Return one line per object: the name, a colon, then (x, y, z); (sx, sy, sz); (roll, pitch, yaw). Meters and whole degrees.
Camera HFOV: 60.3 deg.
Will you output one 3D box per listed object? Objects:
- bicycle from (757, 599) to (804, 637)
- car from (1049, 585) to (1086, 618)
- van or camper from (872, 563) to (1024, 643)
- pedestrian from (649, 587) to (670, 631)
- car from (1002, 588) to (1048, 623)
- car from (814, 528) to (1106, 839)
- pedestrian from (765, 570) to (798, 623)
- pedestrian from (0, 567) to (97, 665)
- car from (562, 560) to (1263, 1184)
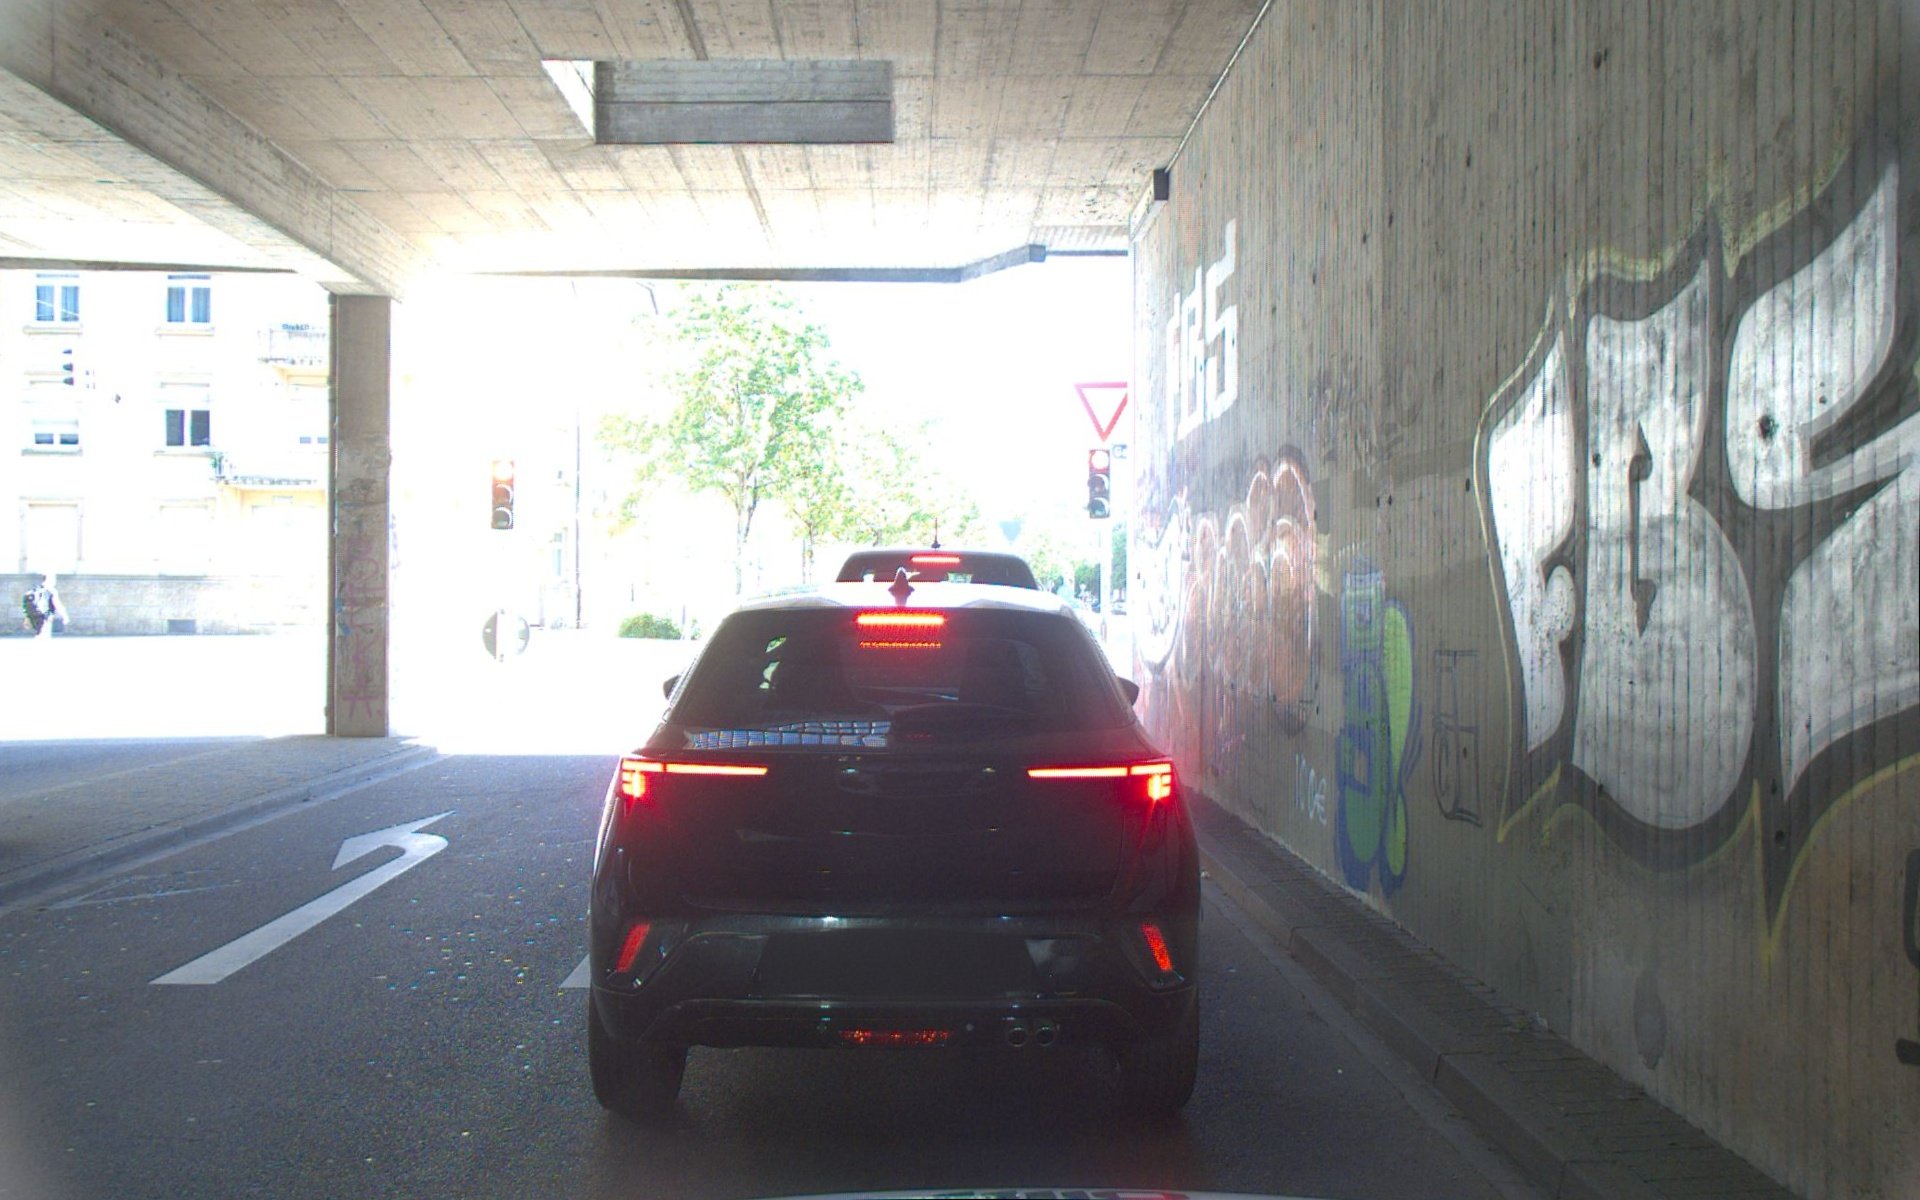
bicycle: (-5.558, 0.551, 51.234); (0.721, 1.150, 2.027); (0, 0, 16)
car: (5.534, 0.079, 84.731); (1.550, 1.668, 3.809); (0, 0, 9)
van or camper: (-0.286, 0.082, 43.601); (3.795, 2.049, 2.002); (0, 0, 7)
pedestrian: (-11.977, 0.341, 65.842); (0.609, 1.734, 0.723); (1, -1, 7)
car: (2.837, 0.222, 71.403); (1.564, 1.477, 3.798); (0, 0, 9)
car: (-0.022, 0.496, 12.030); (1.749, 1.865, 3.960); (1, 0, -1)
pedestrian: (-5.531, -0.094, 51.319); (0.720, 1.612, 0.891); (1, -1, 15)
pedestrian: (-16.887, 0.289, 30.673); (1.088, 1.767, 1.143); (0, 0, 12)
car: (-0.131, 0.669, 6.116); (1.718, 1.525, 4.000); (1, 0, -1)
